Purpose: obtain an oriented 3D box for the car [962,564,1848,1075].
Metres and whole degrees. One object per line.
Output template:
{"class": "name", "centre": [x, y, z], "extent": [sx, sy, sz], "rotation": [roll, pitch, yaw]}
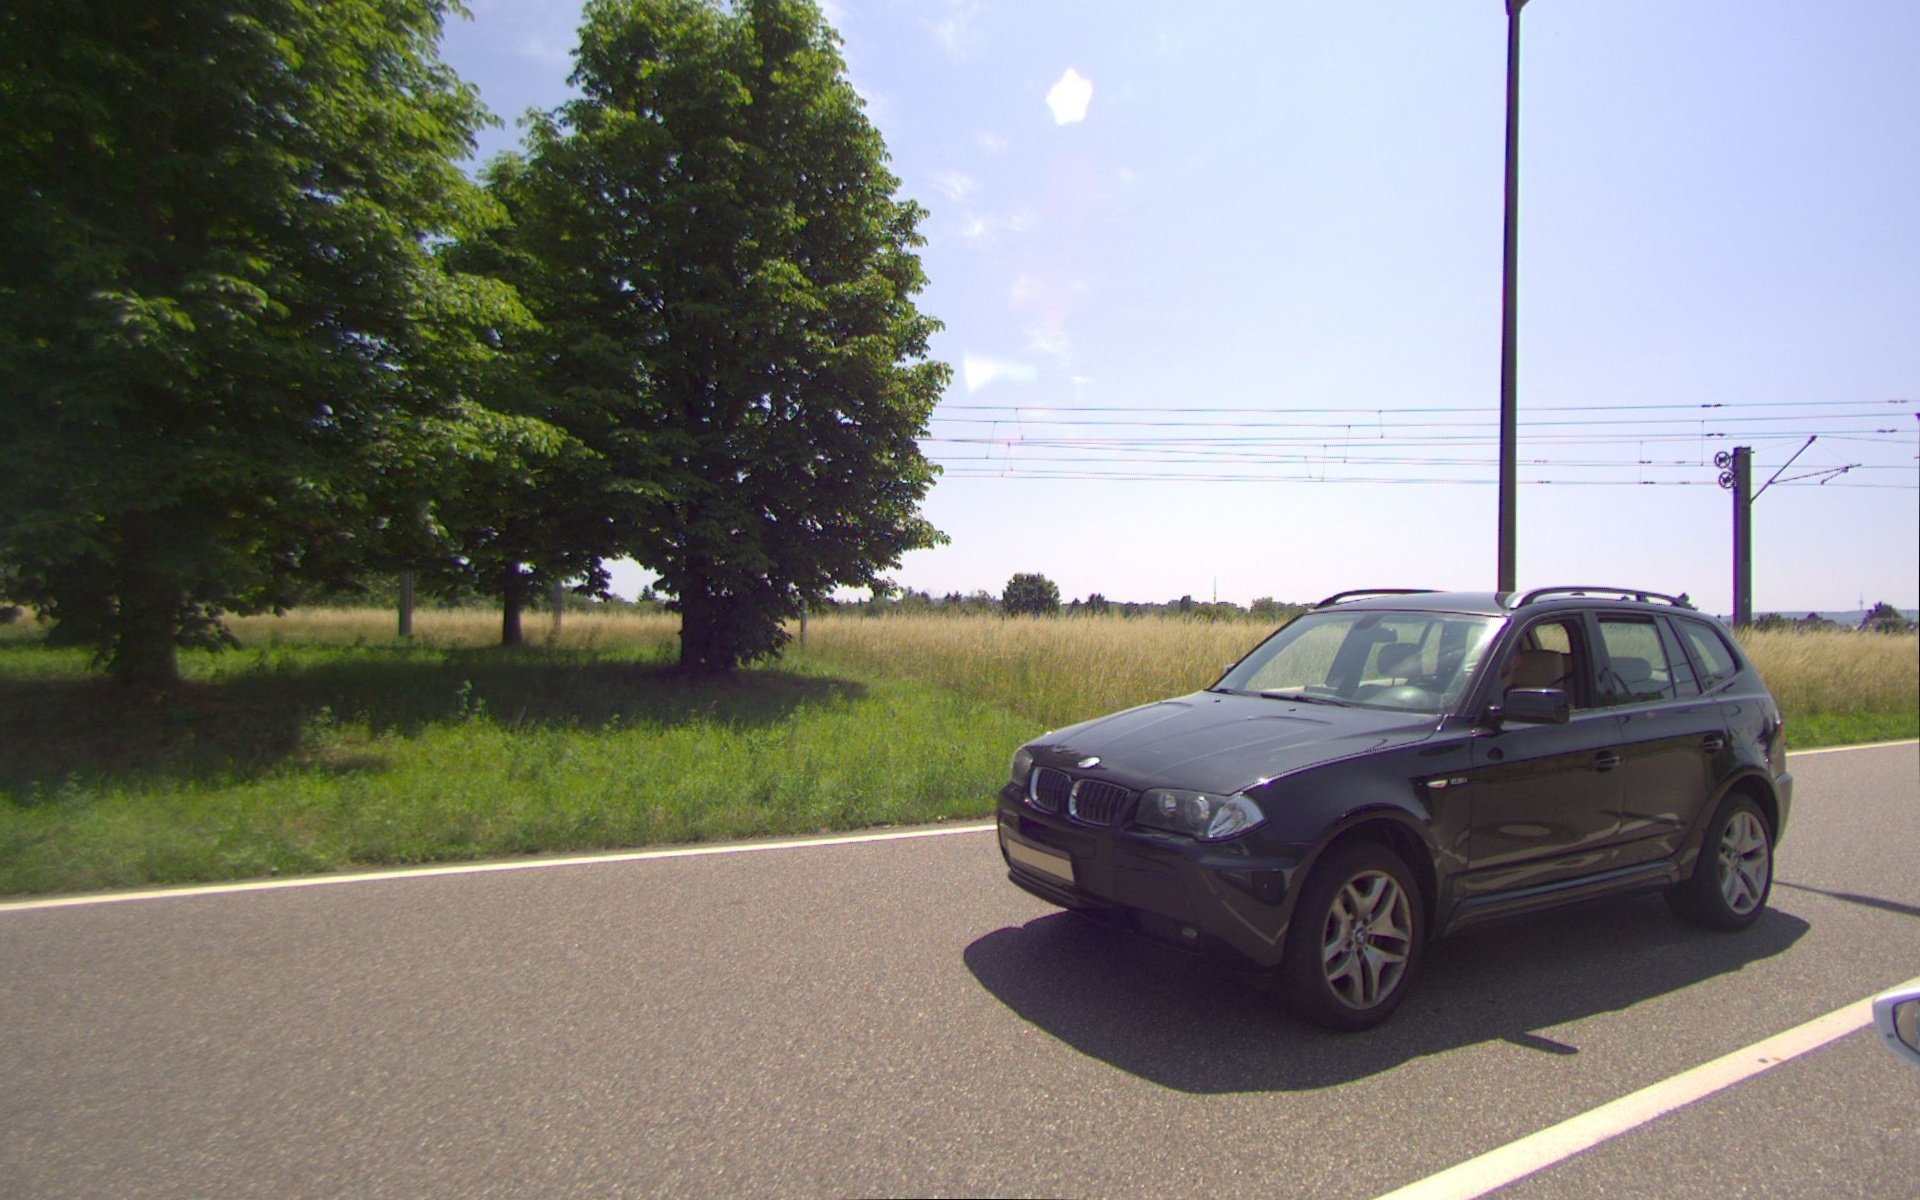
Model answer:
{"class": "car", "centre": [2.378, 0.748, 5.082], "extent": [4.429, 1.623, 1.819], "rotation": [1, -1, -29]}
